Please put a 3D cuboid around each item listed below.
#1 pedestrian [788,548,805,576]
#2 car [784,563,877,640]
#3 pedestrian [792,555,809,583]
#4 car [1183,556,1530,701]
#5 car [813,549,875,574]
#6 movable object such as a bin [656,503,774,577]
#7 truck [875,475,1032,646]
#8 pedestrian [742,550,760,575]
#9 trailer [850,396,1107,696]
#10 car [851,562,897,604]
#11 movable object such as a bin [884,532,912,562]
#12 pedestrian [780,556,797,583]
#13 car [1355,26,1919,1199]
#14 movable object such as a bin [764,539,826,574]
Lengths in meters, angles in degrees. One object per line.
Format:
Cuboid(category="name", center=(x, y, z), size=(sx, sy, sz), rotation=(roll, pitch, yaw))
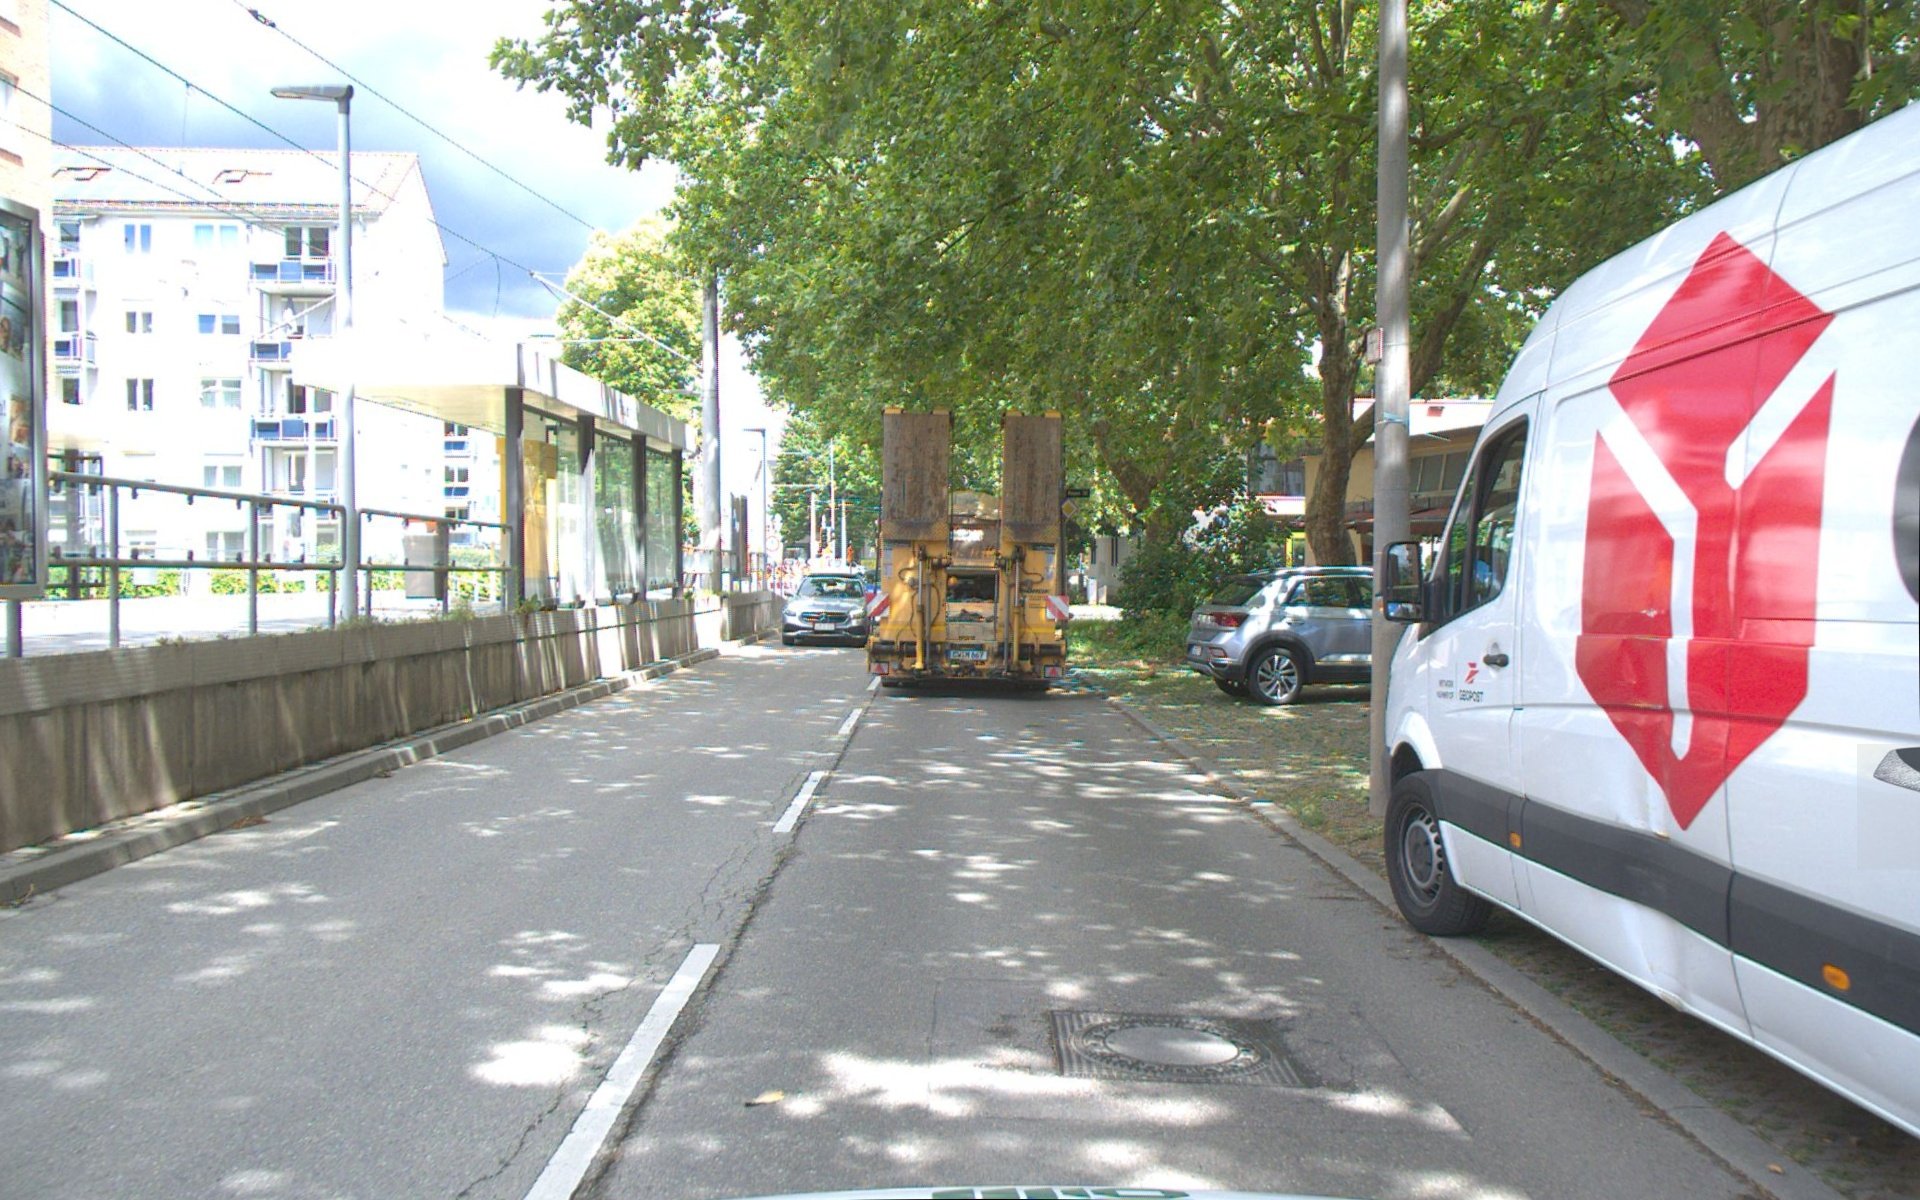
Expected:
Cuboid(category="pedestrian", center=(-11.361, -2.648, 115.022), size=(0.868, 1.899, 0.836), rotation=(2, 1, 28))
Cuboid(category="car", center=(-2.745, -0.012, 35.900), size=(1.726, 1.506, 4.576), rotation=(2, 1, -1))
Cuboid(category="pedestrian", center=(-10.827, -2.105, 112.558), size=(0.876, 1.899, 0.829), rotation=(0, 1, -29))
Cuboid(category="car", center=(4.751, 0.306, 20.039), size=(3.757, 1.589, 1.617), rotation=(-1, 1, -8))
Cuboid(category="car", center=(-10.032, -3.344, 142.943), size=(5.005, 2.138, 1.969), rotation=(0, 2, -15))
Cuboid(category="movable object such as a bin", center=(-18.718, -4.569, 126.198), size=(9.022, 5.508, 2.662), rotation=(1, 1, 26))
Cuboid(category="truck", center=(-0.161, -0.831, 35.335), size=(2.928, 3.189, 7.887), rotation=(1, 1, -1))
Cuboid(category="pedestrian", center=(-14.088, -2.502, 111.380), size=(0.876, 1.673, 0.890), rotation=(0, 1, -31))
Cuboid(category="trailer", center=(0.086, -0.775, 25.843), size=(3.090, 3.614, 11.094), rotation=(1, 1, -2))
Cuboid(category="car", center=(-3.382, -0.687, 65.504), size=(1.662, 1.592, 3.860), rotation=(1, 1, -1))
Cuboid(category="movable object such as a bin", center=(-4.403, -3.778, 117.704), size=(1.369, 2.048, 2.559), rotation=(1, 1, 10))
Cuboid(category="pedestrian", center=(-11.531, -2.074, 111.184), size=(0.867, 1.791, 0.838), rotation=(1, 1, 17))
Cuboid(category="car", center=(2.915, 0.088, 4.622), size=(1.866, 2.626, 6.833), rotation=(-2, 1, -1))
Cuboid(category="movable object such as a bin", center=(-13.059, -3.454, 130.877), size=(4.281, 2.675, 2.218), rotation=(1, 1, 26))
